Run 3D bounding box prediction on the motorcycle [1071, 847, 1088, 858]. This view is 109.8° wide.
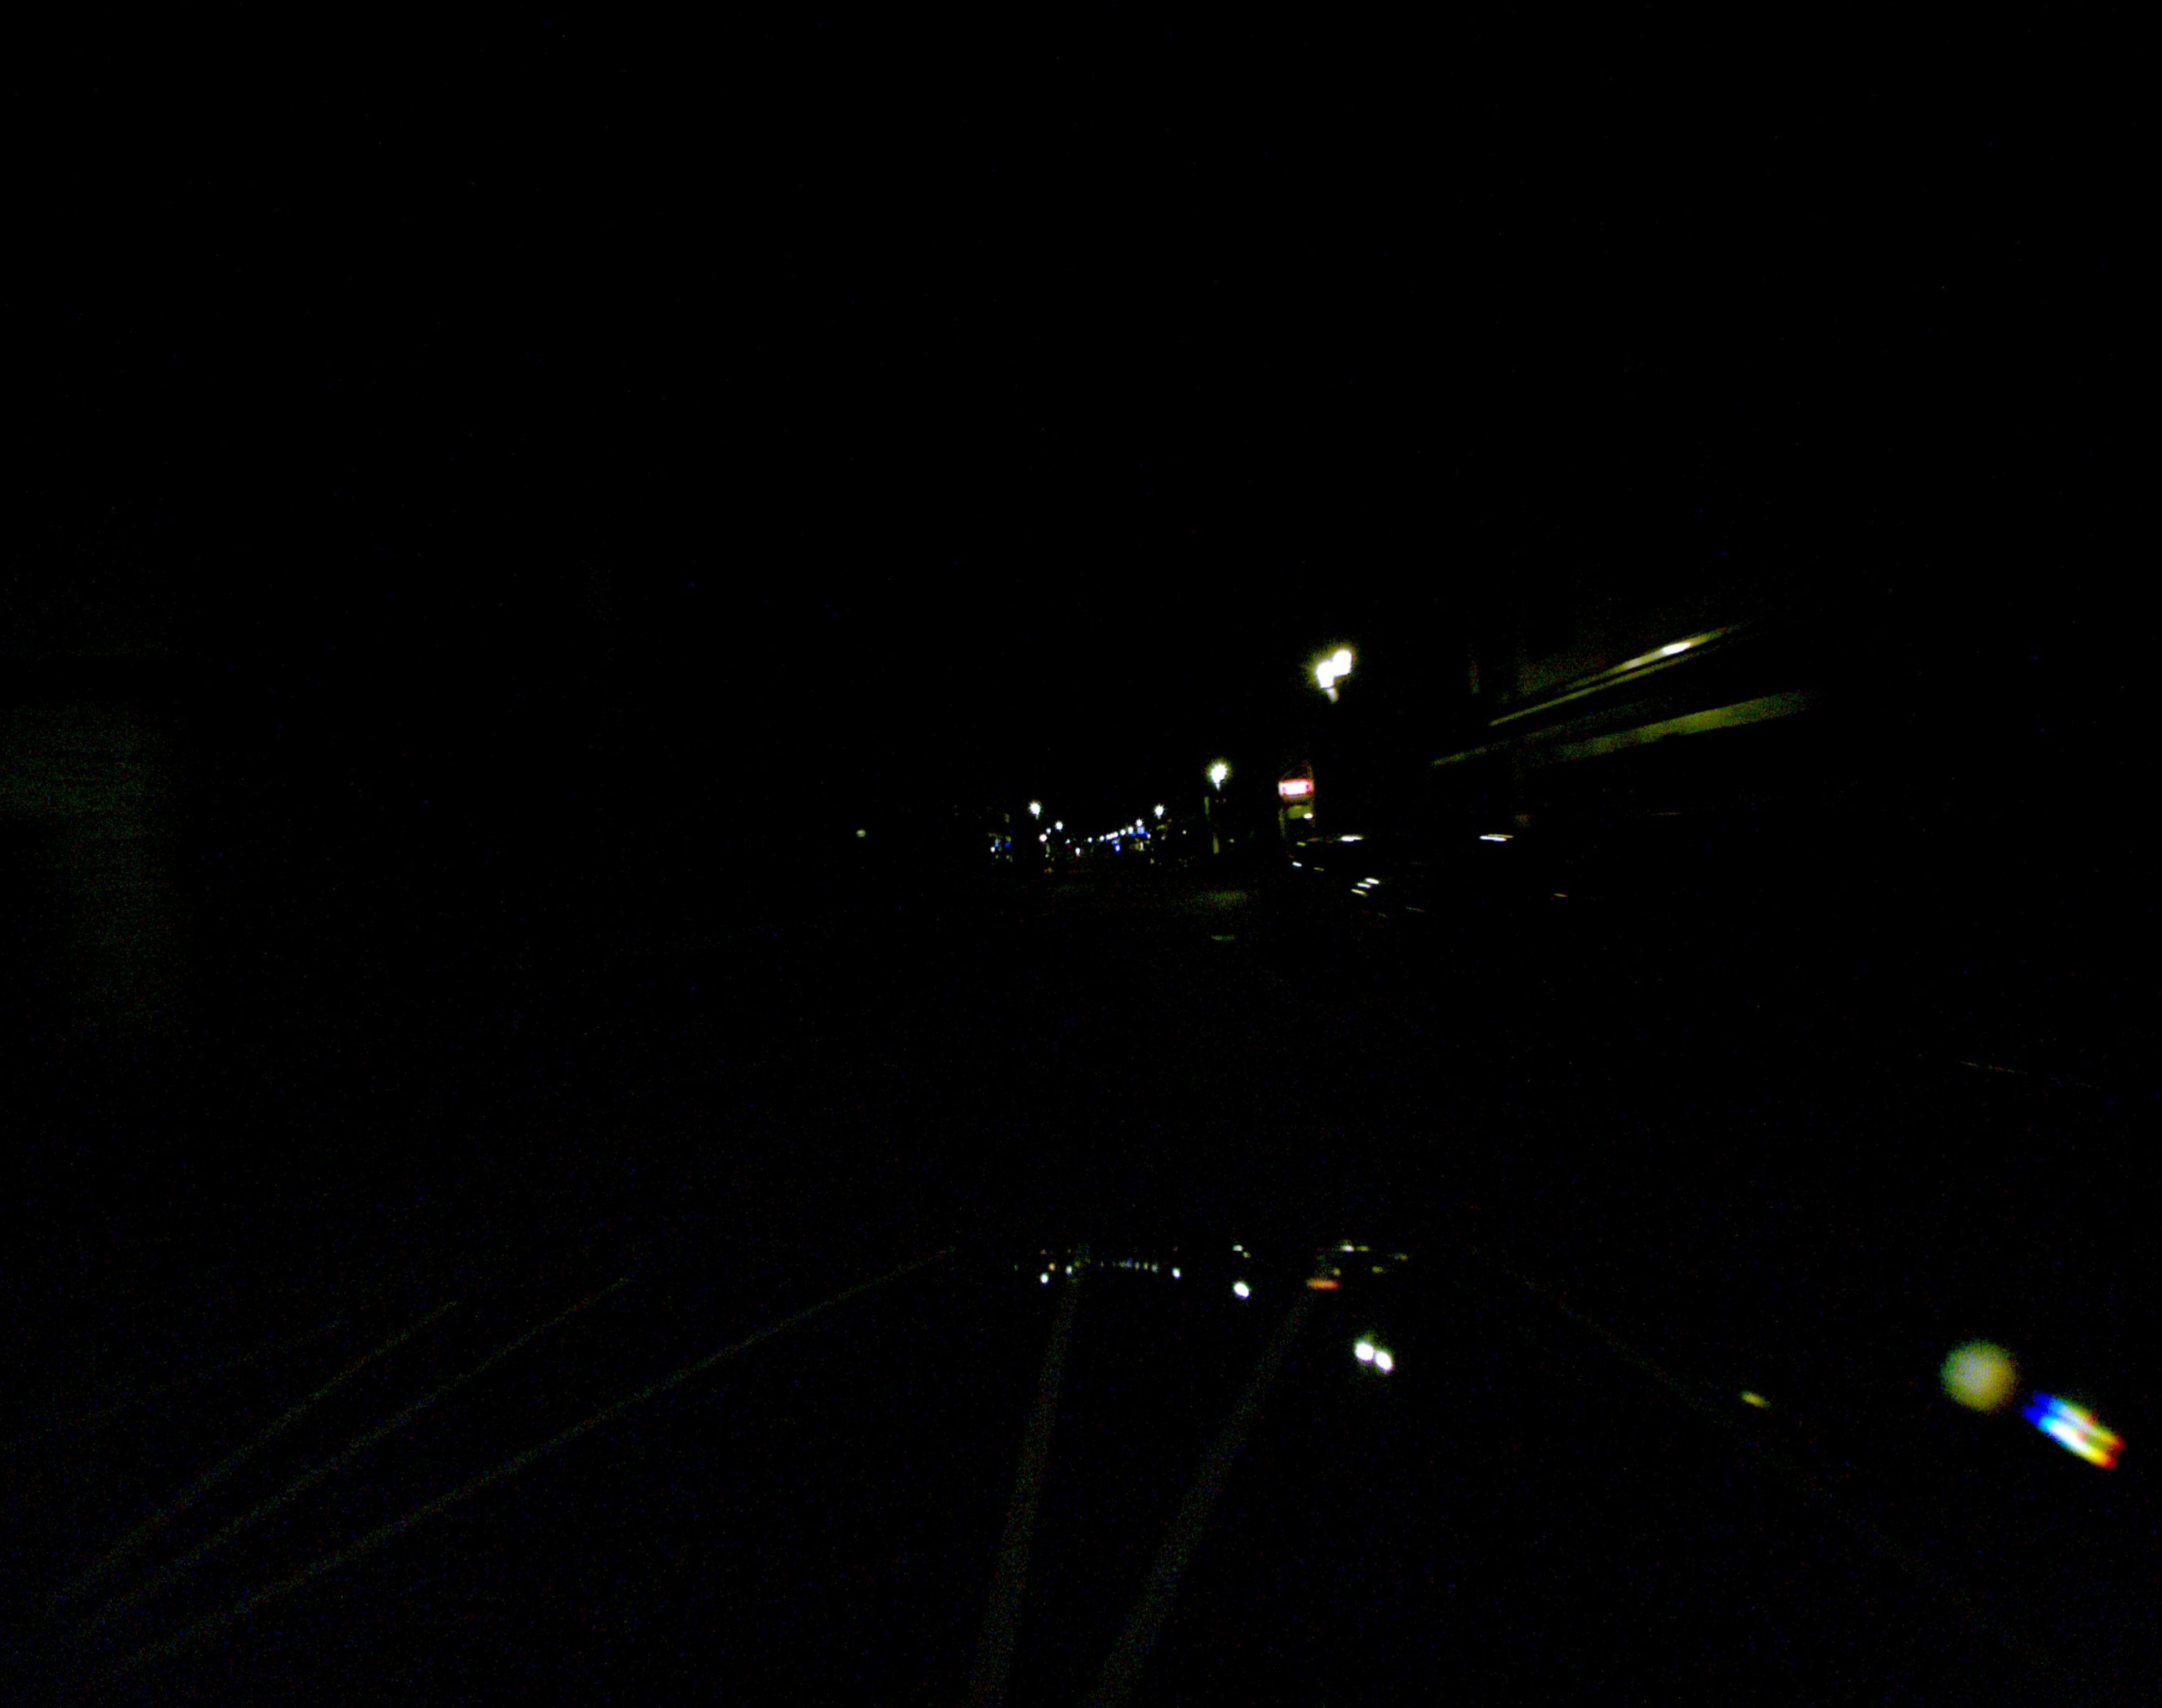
[{"bbox_3d":[-0.198,-0.243,97.733,2.165,1.290,0.516,-3,1,30],"label":"motorcycle"}]

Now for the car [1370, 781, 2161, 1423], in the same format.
[{"bbox_3d":[3.632,0.554,4.222,2.024,1.479,5.007,-7,0,0],"label":"car"}]

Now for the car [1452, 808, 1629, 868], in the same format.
[{"bbox_3d":[14.575,-0.472,24.272,4.452,1.392,1.780,-6,-2,1],"label":"car"}]

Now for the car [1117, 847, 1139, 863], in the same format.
[{"bbox_3d":[4.950,0.047,80.712,1.849,1.455,4.622,-6,0,0],"label":"car"}]

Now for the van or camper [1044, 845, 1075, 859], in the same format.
[{"bbox_3d":[-4.417,-0.376,157.592,6.059,2.518,2.158,-5,1,-30],"label":"van or camper"}]

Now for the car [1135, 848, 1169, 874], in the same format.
[{"bbox_3d":[4.451,0.395,47.907,1.721,1.404,4.385,-6,0,2],"label":"car"}]

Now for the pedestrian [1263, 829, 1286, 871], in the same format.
[{"bbox_3d":[8.222,-0.174,32.345,0.622,1.735,1.022,-5,1,1],"label":"pedestrian"}]

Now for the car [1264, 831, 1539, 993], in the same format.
[{"bbox_3d":[3.690,0.577,9.566,1.733,1.468,3.846,-5,0,0],"label":"car"}]

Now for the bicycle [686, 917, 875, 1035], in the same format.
[{"bbox_3d":[-3.125,1.265,7.962,1.759,1.056,0.346,-4,1,-1],"label":"bicycle"}]

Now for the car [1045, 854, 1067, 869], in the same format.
[{"bbox_3d":[-2.396,0.732,75.033,1.664,1.369,4.104,-3,1,4],"label":"car"}]

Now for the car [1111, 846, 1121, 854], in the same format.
[{"bbox_3d":[6.923,-0.849,149.857,1.655,1.417,4.014,-7,0,0],"label":"car"}]

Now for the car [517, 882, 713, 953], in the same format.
[{"bbox_3d":[-11.136,1.495,18.340,3.622,1.433,1.725,-2,1,1],"label":"car"}]

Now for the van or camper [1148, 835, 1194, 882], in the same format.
[{"bbox_3d":[4.275,0.154,36.092,1.850,1.930,5.155,-5,0,7],"label":"van or camper"}]

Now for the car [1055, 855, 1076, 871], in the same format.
[{"bbox_3d":[-1.630,0.927,80.451,1.757,1.455,4.467,-3,1,4],"label":"car"}]

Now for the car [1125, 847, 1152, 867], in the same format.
[{"bbox_3d":[4.645,0.222,62.303,1.802,1.469,4.321,-5,1,0],"label":"car"}]
